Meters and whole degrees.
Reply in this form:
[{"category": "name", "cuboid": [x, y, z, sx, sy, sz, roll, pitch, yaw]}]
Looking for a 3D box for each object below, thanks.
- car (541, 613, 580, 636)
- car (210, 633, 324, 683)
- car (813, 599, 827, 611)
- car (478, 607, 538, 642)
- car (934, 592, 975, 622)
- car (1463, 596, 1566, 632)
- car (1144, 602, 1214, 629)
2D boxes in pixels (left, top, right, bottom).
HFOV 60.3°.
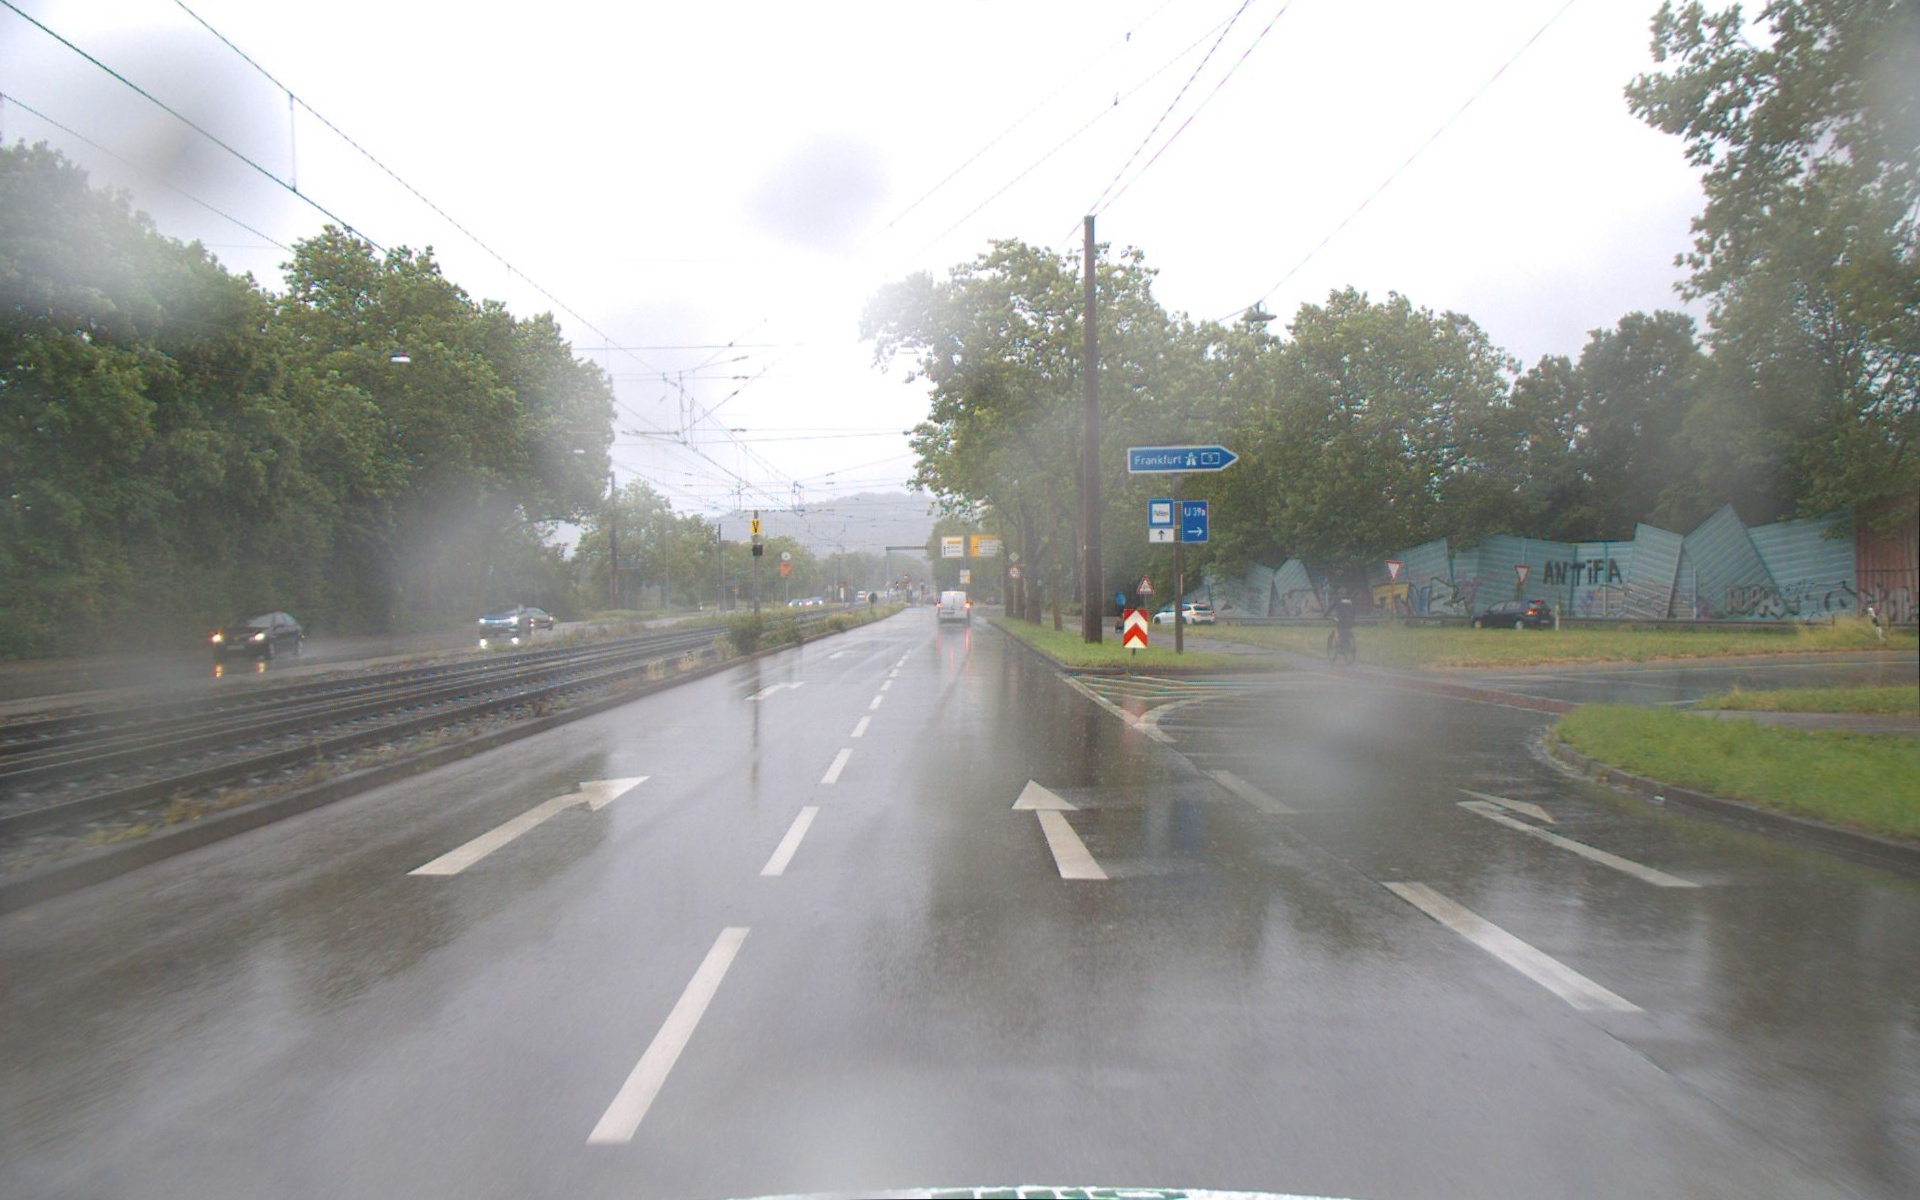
[{"category": "car", "cuboid": [-25.648, 1.560, 106.274, 1.648, 1.430, 3.938, 0, 0, -2]}, {"category": "car", "cuboid": [-20.907, 1.724, 50.070, 1.736, 1.354, 4.378, 0, 0, -2]}, {"category": "car", "cuboid": [-20.788, 0.720, 245.688, 1.905, 1.644, 4.984, -1, 0, -5]}, {"category": "car", "cuboid": [-21.425, 1.127, 78.558, 1.656, 1.550, 4.953, 0, 0, -2]}, {"category": "car", "cuboid": [-0.314, 0.375, 86.151, 2.035, 1.445, 3.999, -2, 0, -1]}, {"category": "car", "cuboid": [25.022, 0.636, 74.782, 1.841, 1.563, 4.478, 0, 0, -27]}, {"category": "car", "cuboid": [13.037, 0.933, 98.553, 1.927, 1.563, 4.423, 0, 0, -29]}]
